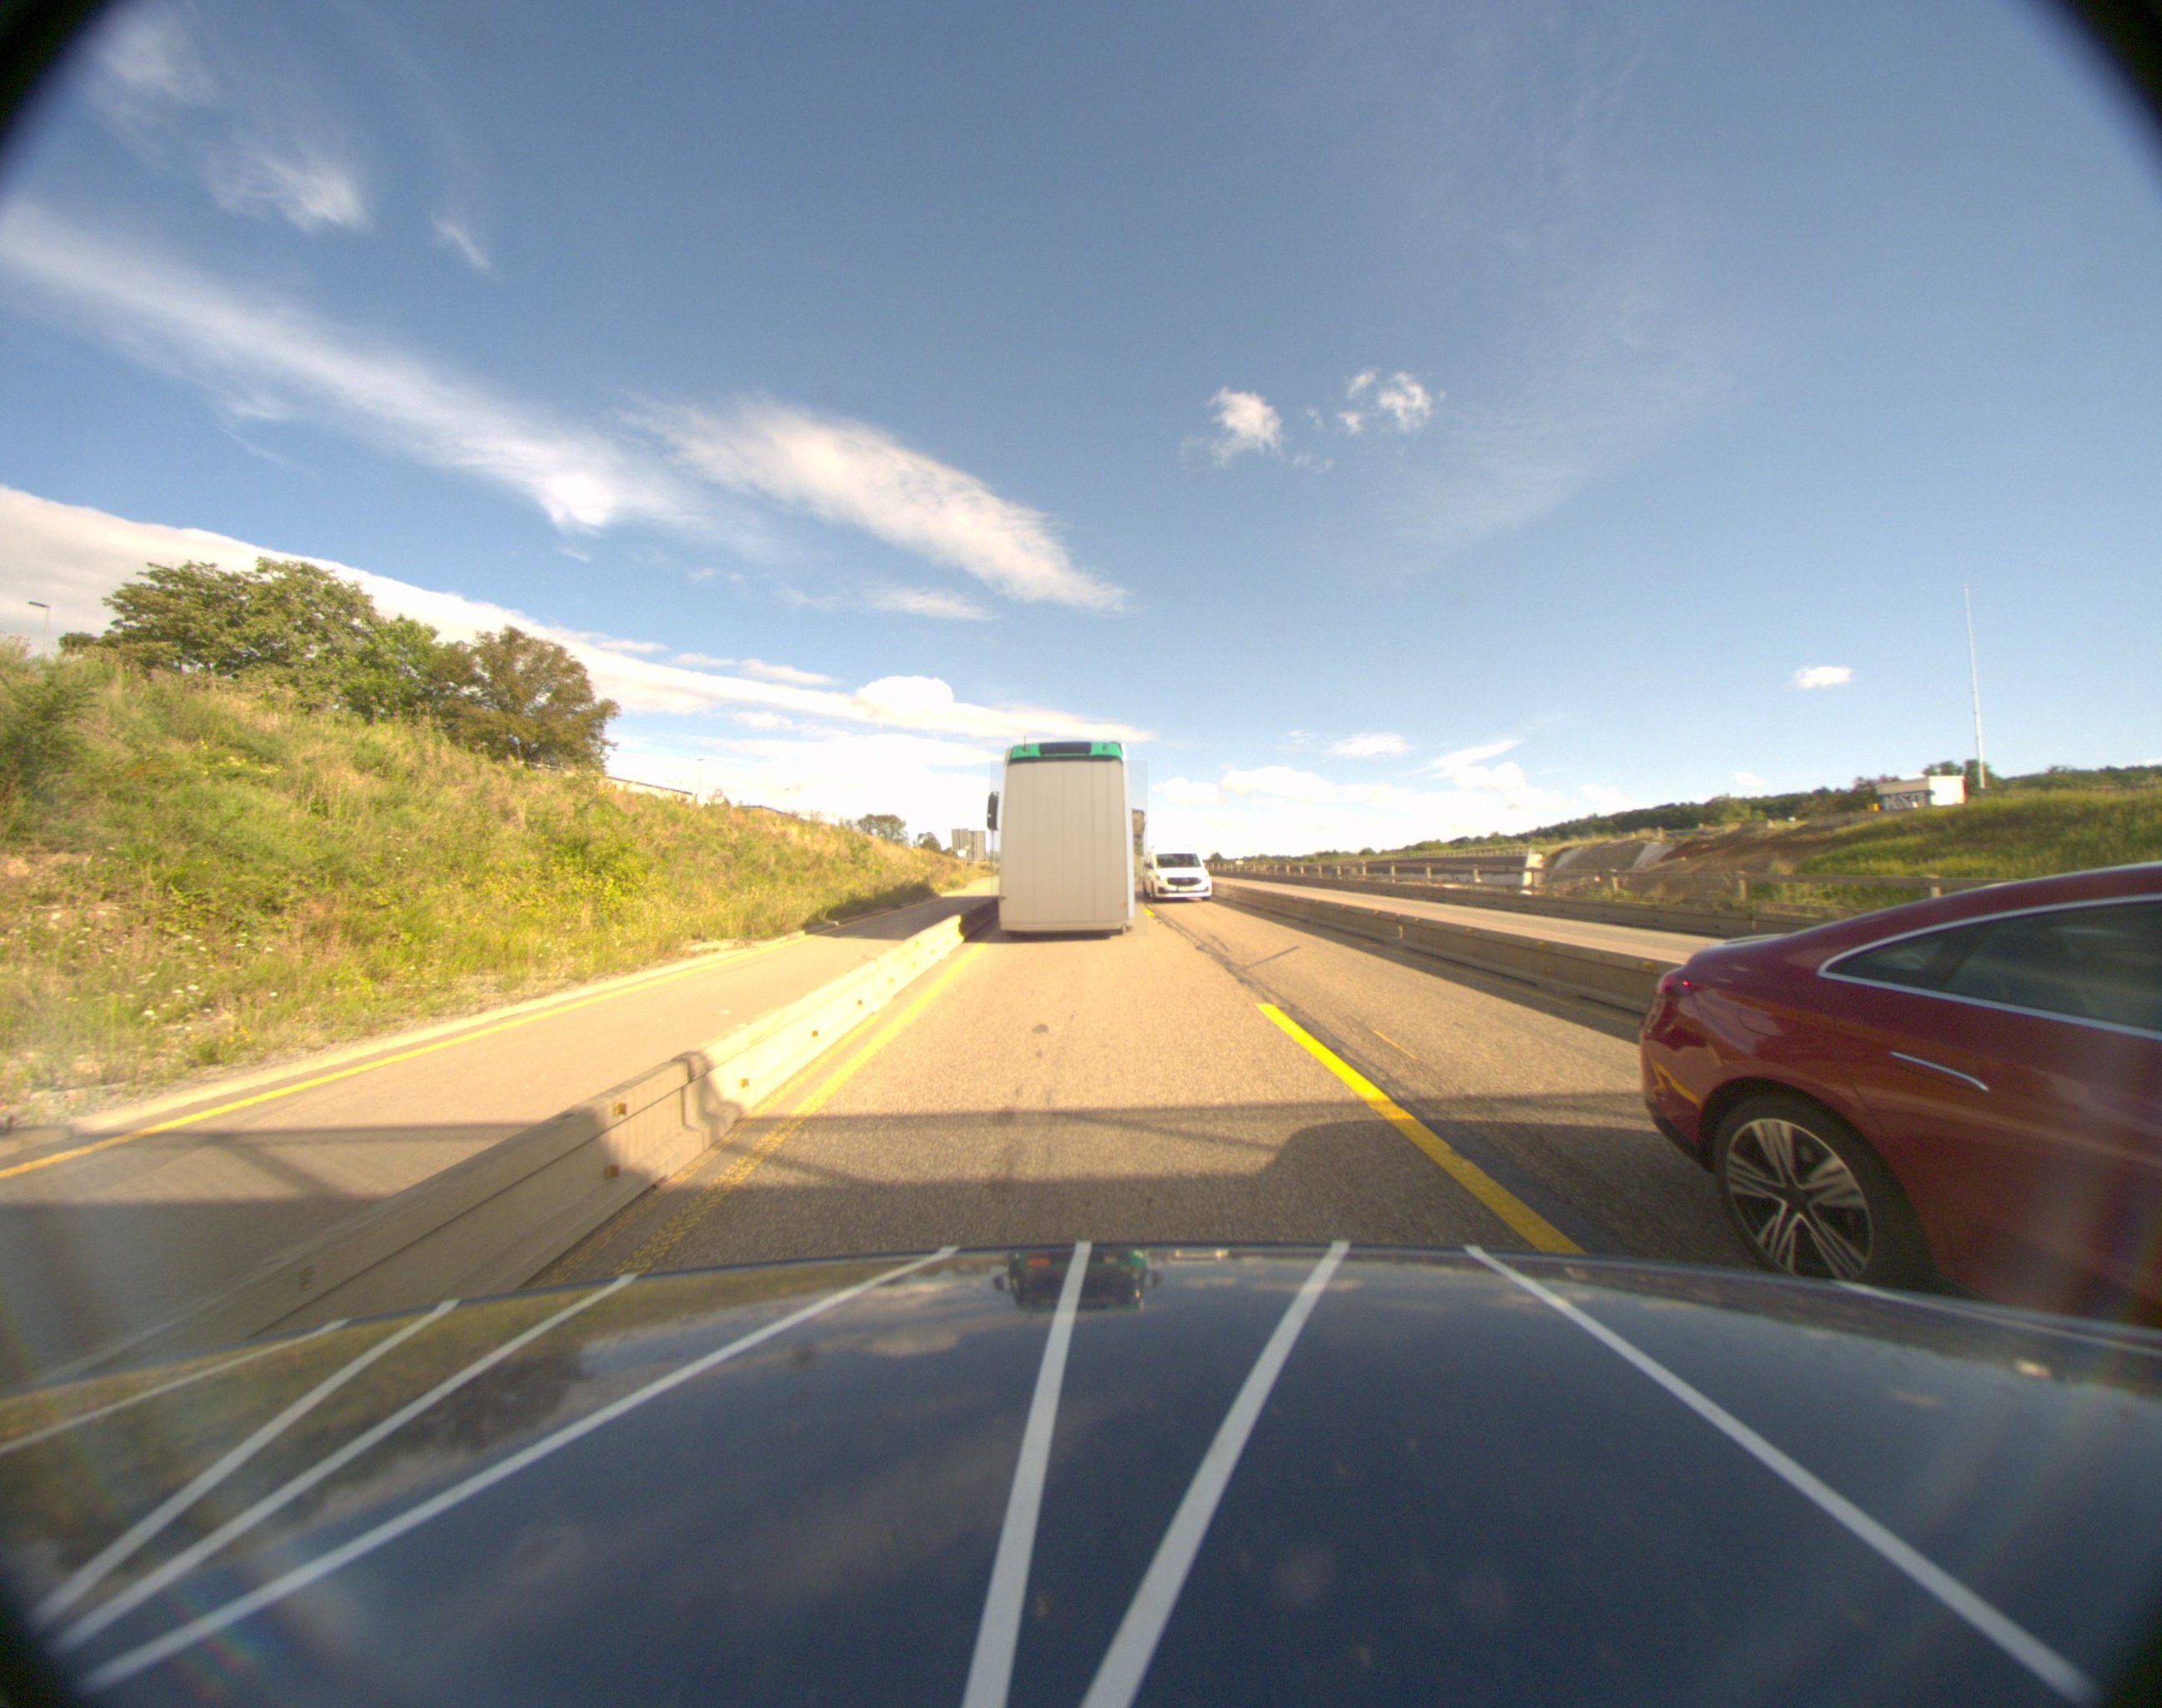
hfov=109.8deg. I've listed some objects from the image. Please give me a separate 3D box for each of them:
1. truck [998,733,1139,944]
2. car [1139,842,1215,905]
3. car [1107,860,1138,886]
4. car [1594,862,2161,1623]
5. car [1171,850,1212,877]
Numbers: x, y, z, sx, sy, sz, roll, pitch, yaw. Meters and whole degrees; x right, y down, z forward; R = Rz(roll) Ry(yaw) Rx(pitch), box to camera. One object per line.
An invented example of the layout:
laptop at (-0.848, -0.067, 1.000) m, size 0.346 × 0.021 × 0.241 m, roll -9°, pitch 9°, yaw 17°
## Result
truck at (-0.302, -0.307, 18.399) m, size 2.546 × 3.899 × 8.278 m, roll -1°, pitch 0°, yaw -1°
car at (3.097, 0.602, 25.383) m, size 1.828 × 1.813 × 4.455 m, roll -3°, pitch 0°, yaw -1°
car at (2.595, 1.169, 48.215) m, size 1.719 × 1.499 × 4.000 m, roll -2°, pitch 1°, yaw 1°
car at (3.128, 0.817, 0.904) m, size 1.827 × 1.483 × 4.684 m, roll -3°, pitch 0°, yaw 0°
car at (6.651, 0.559, 46.144) m, size 1.828 × 1.554 × 4.217 m, roll 1°, pitch 0°, yaw 0°
